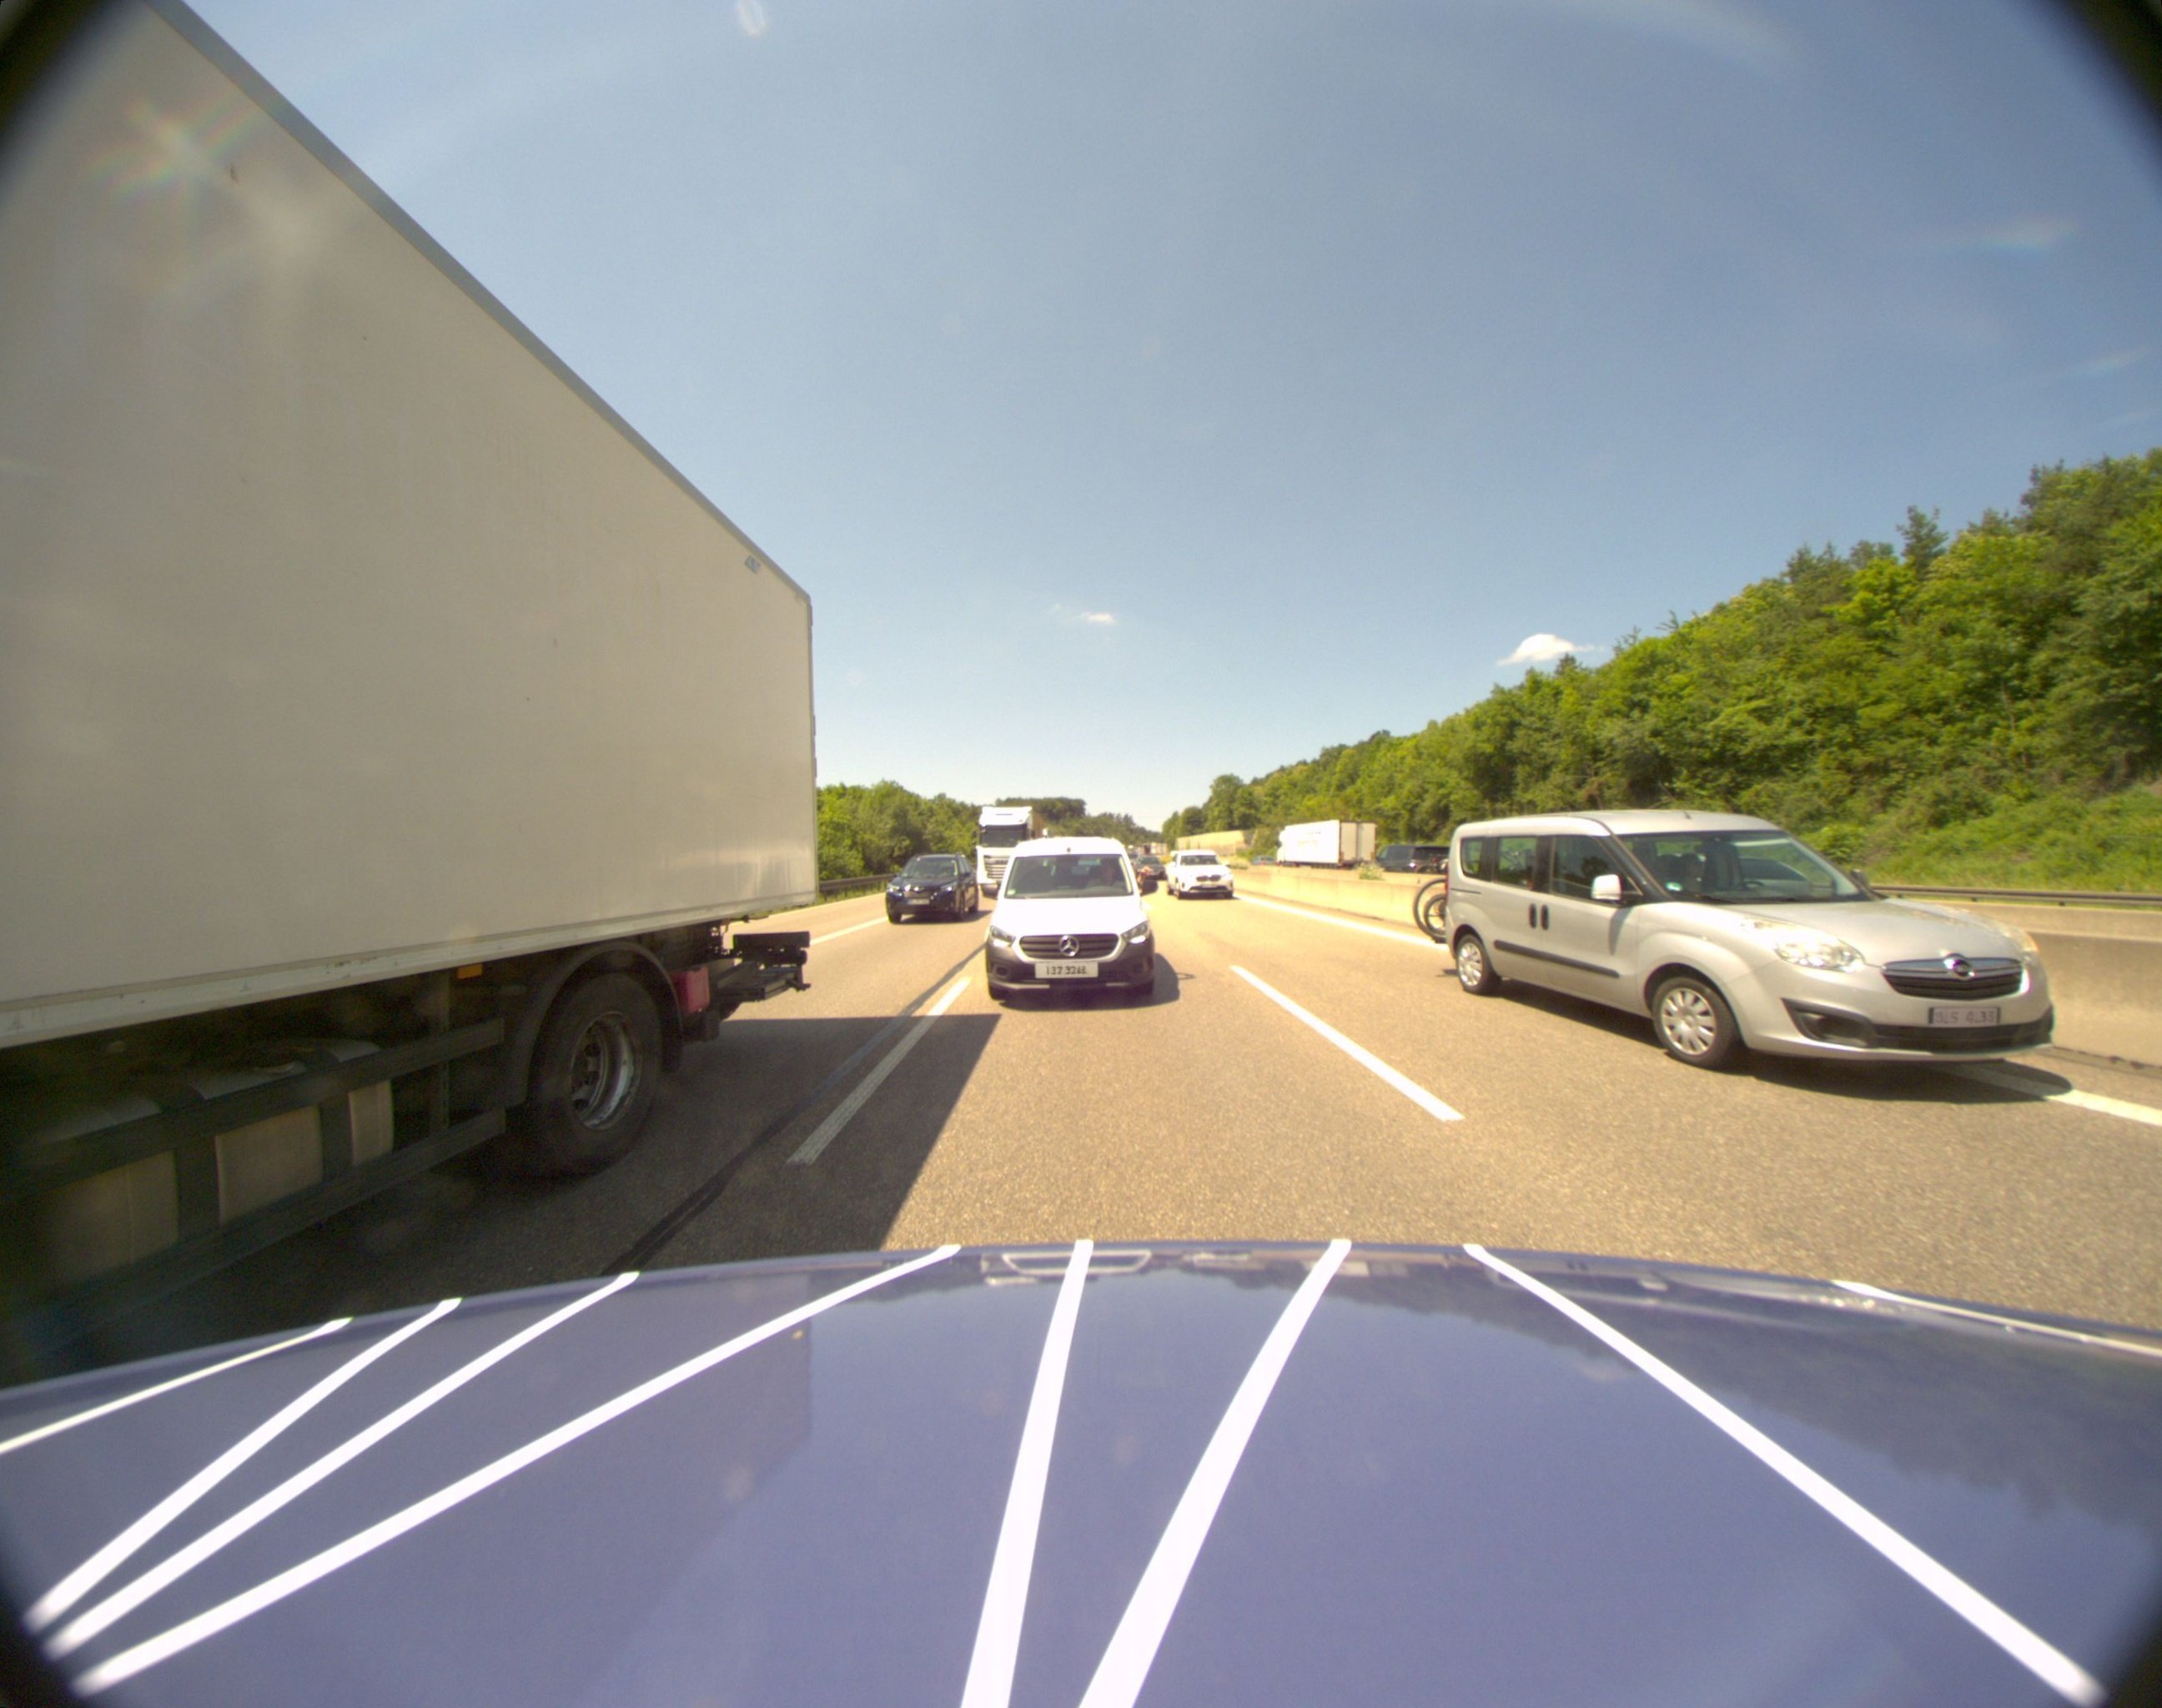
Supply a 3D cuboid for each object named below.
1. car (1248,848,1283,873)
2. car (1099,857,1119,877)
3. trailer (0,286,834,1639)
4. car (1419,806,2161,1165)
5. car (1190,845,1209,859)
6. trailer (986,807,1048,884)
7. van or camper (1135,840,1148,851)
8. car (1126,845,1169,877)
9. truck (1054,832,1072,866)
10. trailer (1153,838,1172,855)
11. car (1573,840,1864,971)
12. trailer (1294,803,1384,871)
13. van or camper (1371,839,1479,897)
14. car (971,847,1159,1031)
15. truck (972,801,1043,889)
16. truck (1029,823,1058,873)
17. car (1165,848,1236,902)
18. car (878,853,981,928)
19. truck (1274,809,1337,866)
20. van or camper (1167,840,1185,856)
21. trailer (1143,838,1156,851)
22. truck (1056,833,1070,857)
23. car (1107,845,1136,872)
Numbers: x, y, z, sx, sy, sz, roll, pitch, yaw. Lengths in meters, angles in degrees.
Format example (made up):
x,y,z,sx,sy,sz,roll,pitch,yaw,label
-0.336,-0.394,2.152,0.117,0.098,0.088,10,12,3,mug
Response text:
x,y,z,sx,sy,sz,roll,pitch,yaw,label
14.683,0.486,60.679,1.998,1.753,4.452,-2,1,4,car
3.158,1.466,86.768,1.999,2.002,3.998,-2,1,-2,car
-3.599,0.238,3.108,2.562,2.882,7.881,-2,0,0,trailer
4.847,0.615,6.280,1.857,1.762,4.916,-2,1,0,car
18.957,-0.332,121.642,2.119,2.002,4.476,-2,1,-3,car
-3.592,-0.565,45.688,2.767,4.061,11.614,0,1,0,trailer
15.819,-2.214,198.332,2.401,2.860,6.708,-2,1,-3,van or camper
3.911,0.372,45.289,1.999,1.747,3.998,-2,1,-3,car
-2.480,-0.634,105.687,2.187,4.437,10.868,-2,0,-1,truck
19.356,-1.826,180.563,3.005,3.850,11.397,-2,1,0,trailer
11.356,0.778,13.983,1.998,2.002,3.999,-2,1,0,car
19.006,-1.248,56.905,2.956,4.456,10.814,-2,1,0,trailer
13.037,0.445,29.193,1.998,2.002,4.927,-2,1,2,van or camper
-0.147,0.798,9.480,1.756,1.681,4.363,-2,1,0,car
-3.658,-0.483,39.370,2.766,4.061,7.332,-2,1,1,truck
-3.531,-0.492,74.447,2.395,4.437,10.868,-2,0,-1,truck
4.144,0.668,26.950,1.824,1.696,3.999,-2,1,0,car
-3.867,0.850,20.178,1.999,1.682,4.609,0,1,-3,car
18.941,-1.418,64.510,2.957,4.456,7.516,-2,1,-1,truck
15.010,-1.005,120.302,1.999,2.371,4.806,3,1,-2,van or camper
22.064,-3.095,244.153,3.443,4.171,7.895,-2,1,0,trailer
-3.149,-1.489,134.120,2.187,4.073,10.868,-2,0,-1,truck
3.161,0.330,60.021,1.998,2.002,4.000,-1,0,0,car
